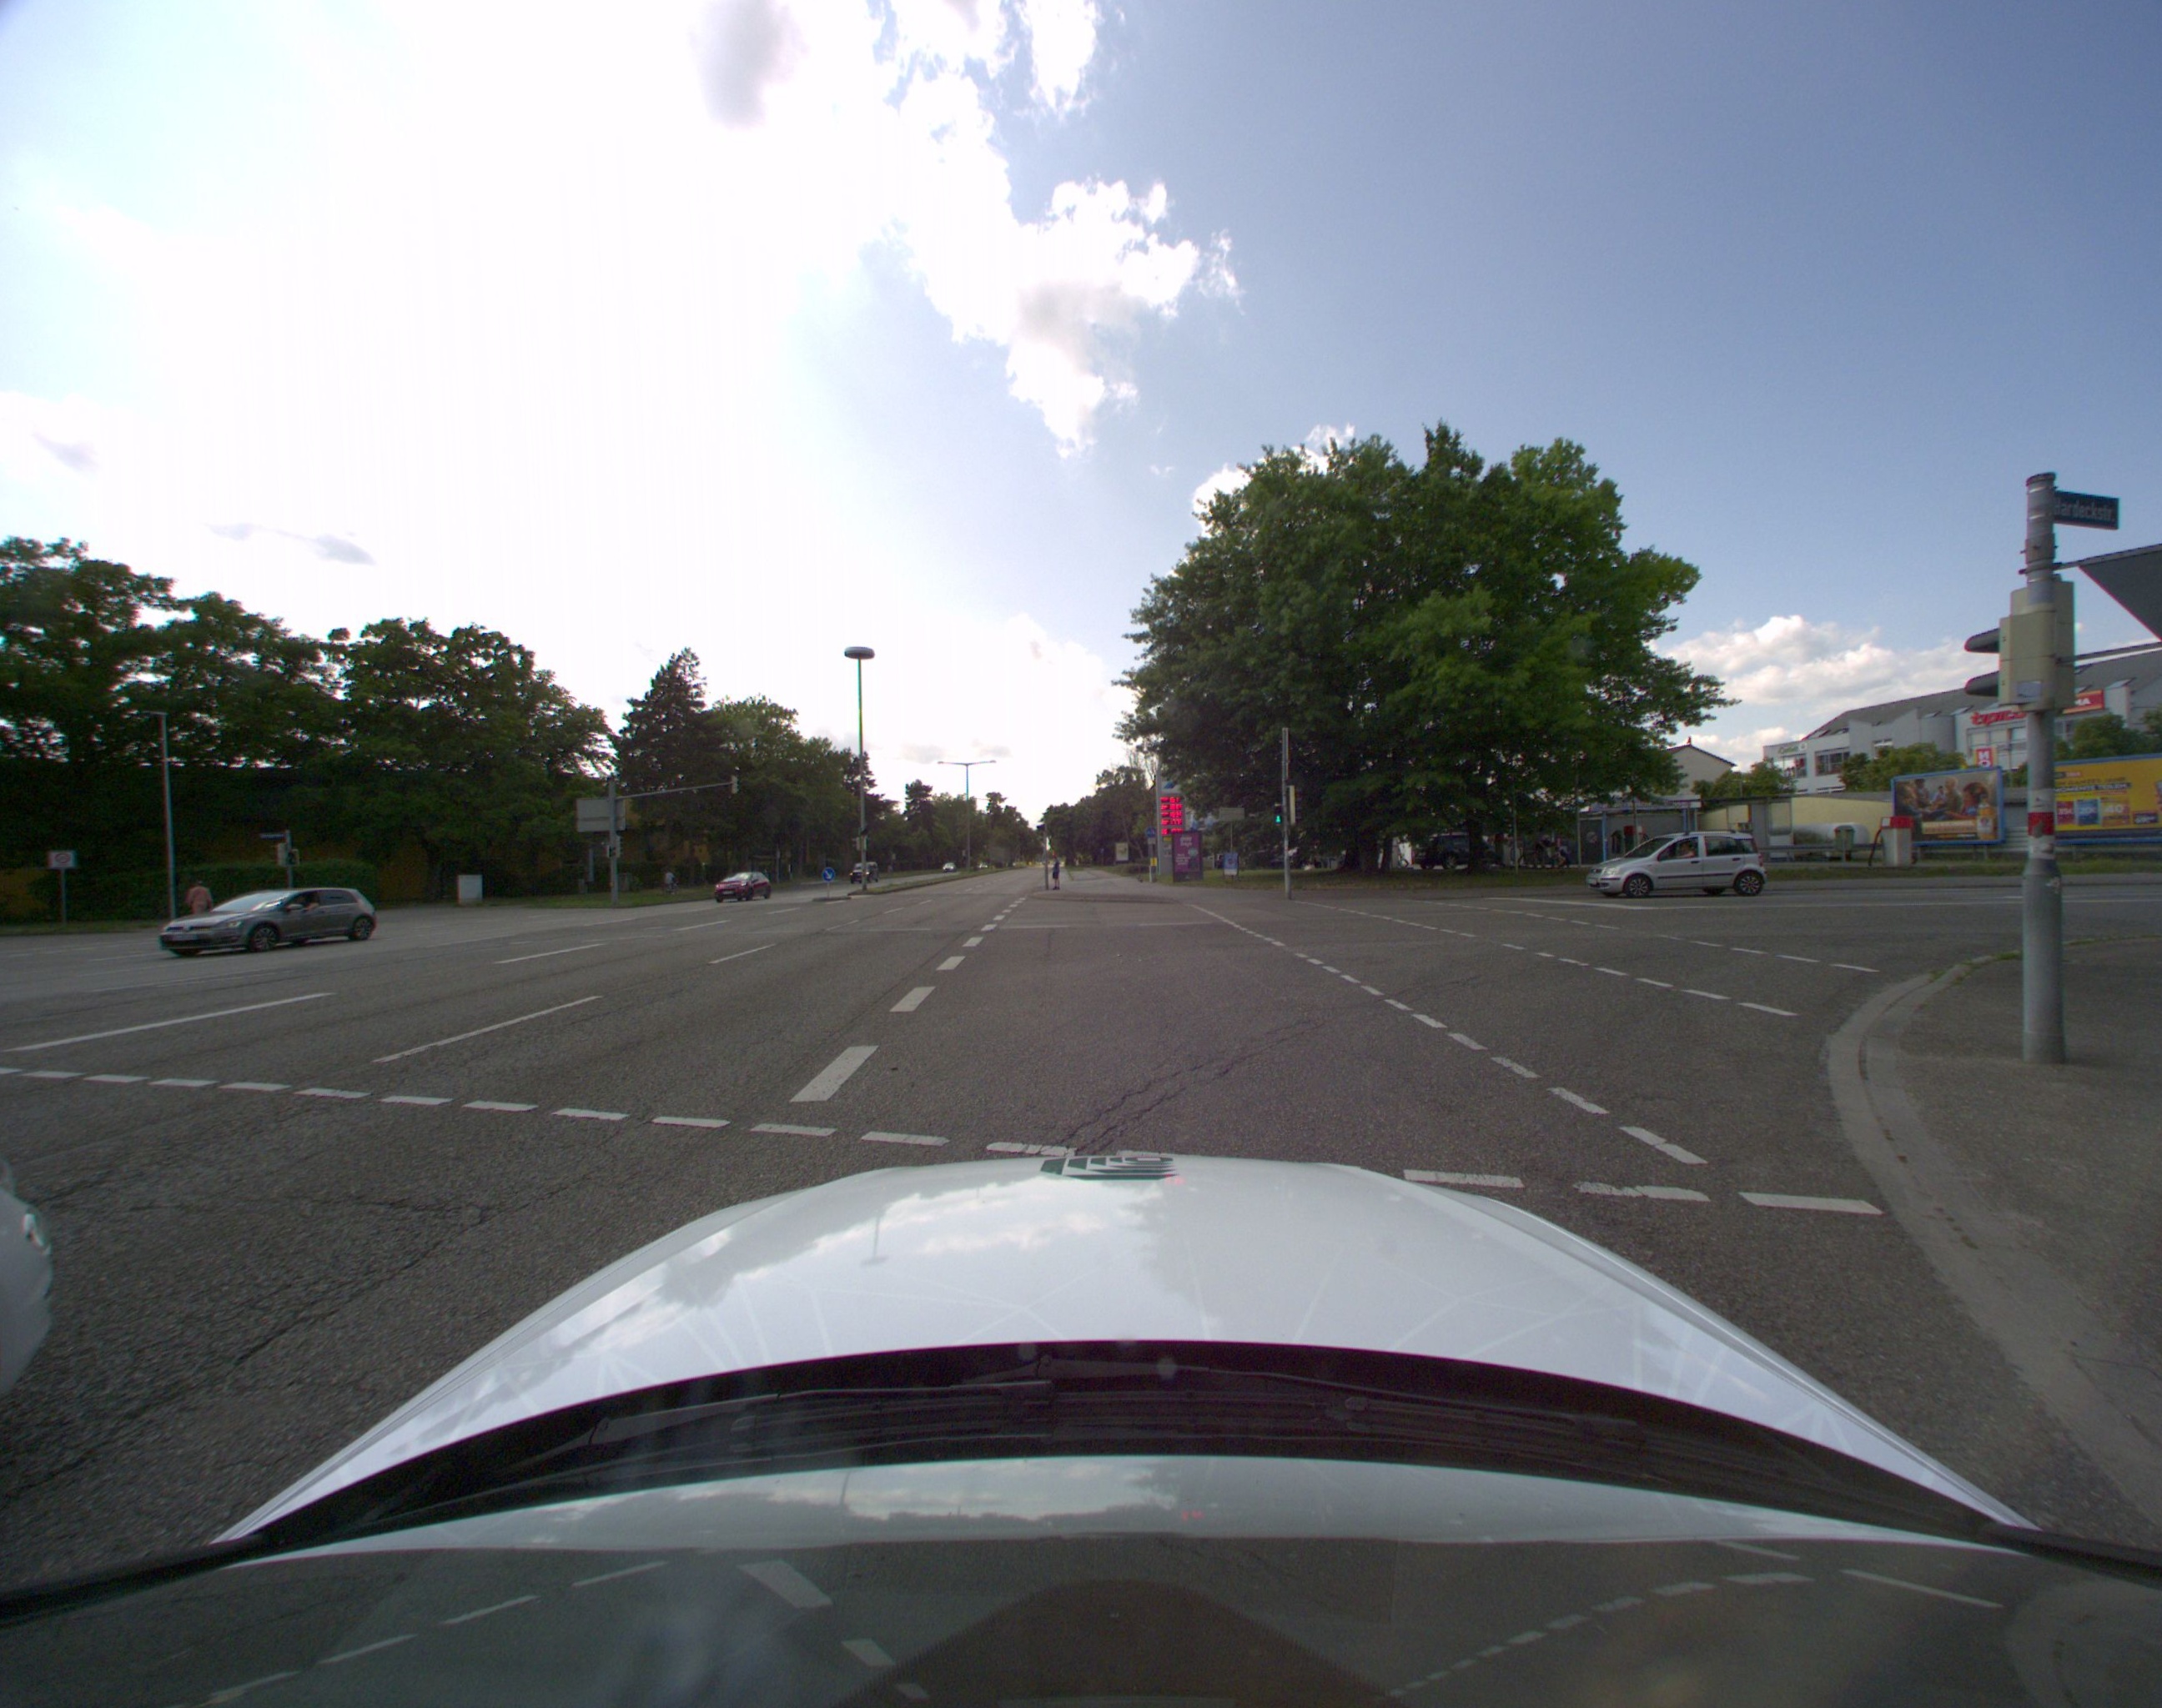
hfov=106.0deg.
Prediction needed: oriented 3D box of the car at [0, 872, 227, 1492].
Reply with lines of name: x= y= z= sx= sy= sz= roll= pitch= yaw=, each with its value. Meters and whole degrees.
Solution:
car: x=-3.329 y=0.761 z=0.669 sx=1.566 sy=1.497 sz=3.536 roll=0 pitch=-1 yaw=-3

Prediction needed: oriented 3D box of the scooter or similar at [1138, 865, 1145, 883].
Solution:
scooter or similar: x=3.287 y=1.078 z=44.149 sx=0.220 sy=0.979 sz=1.272 roll=-2 pitch=-1 yaw=-1

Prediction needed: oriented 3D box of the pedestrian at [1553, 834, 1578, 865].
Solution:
pedestrian: x=20.299 y=-0.180 z=34.097 sx=0.756 sy=1.255 sz=0.649 roll=-1 pitch=-2 yaw=44

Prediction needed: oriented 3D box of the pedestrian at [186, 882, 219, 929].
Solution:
pedestrian: x=-33.243 y=1.941 z=30.828 sx=0.696 sy=1.742 sz=0.697 roll=-1 pitch=-1 yaw=-37

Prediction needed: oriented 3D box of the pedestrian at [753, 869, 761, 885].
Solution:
pedestrian: x=-30.101 y=2.142 z=75.636 sx=0.571 sy=1.496 sz=0.419 roll=1 pitch=-2 yaw=-17

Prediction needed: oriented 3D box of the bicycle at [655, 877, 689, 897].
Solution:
bicycle: x=-25.788 y=2.071 z=51.397 sx=0.749 sy=1.119 sz=2.122 roll=-2 pitch=-1 yaw=13

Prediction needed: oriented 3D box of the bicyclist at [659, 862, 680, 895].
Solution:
bicyclist: x=-25.857 y=1.516 z=51.184 sx=0.746 sy=2.014 sz=0.834 roll=-2 pitch=-1 yaw=12

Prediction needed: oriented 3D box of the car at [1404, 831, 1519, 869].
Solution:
car: x=18.052 y=-0.170 z=38.677 sx=4.553 sy=1.596 sz=2.145 roll=-2 pitch=-1 yaw=-12

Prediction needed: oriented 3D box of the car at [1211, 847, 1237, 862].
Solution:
car: x=14.077 y=0.070 z=80.460 sx=1.746 sy=1.454 sz=3.737 roll=-2 pitch=-1 yaw=-3

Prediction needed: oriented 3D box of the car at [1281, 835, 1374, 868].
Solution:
car: x=15.354 y=-0.164 z=50.844 sx=5.185 sy=1.827 sz=2.145 roll=-2 pitch=-1 yaw=-12

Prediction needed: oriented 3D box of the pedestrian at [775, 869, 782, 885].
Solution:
pedestrian: x=-28.345 y=2.156 z=76.198 sx=0.571 sy=1.496 sz=0.419 roll=1 pitch=-2 yaw=-17

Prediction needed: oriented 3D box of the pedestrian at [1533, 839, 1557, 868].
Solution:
pedestrian: x=19.758 y=-0.006 z=34.689 sx=0.756 sy=1.190 sz=0.649 roll=-1 pitch=-2 yaw=44

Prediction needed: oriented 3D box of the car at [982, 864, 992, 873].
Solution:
car: x=-19.309 y=2.947 z=167.476 sx=1.856 sy=1.705 sz=4.450 roll=-2 pitch=-1 yaw=-3

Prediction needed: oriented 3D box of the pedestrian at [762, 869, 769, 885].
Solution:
pedestrian: x=-29.411 y=2.149 z=75.939 sx=0.571 sy=1.496 sz=0.419 roll=1 pitch=-2 yaw=-17

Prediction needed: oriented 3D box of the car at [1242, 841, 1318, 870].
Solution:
car: x=15.081 y=0.135 z=61.786 sx=5.172 sy=2.004 sz=2.150 roll=-2 pitch=-1 yaw=-5

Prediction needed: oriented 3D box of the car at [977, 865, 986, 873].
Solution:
car: x=-23.714 y=3.588 z=194.362 sx=1.856 sy=1.705 sz=4.450 roll=-2 pitch=-1 yaw=-3

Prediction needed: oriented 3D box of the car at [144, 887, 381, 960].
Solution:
car: x=-19.412 y=1.583 z=19.604 sx=1.590 sy=1.372 sz=4.079 roll=-2 pitch=-1 yaw=-1

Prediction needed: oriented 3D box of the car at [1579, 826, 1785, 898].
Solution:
car: x=14.117 y=0.197 z=19.306 sx=3.573 sy=1.517 sz=1.564 roll=-2 pitch=-1 yaw=11

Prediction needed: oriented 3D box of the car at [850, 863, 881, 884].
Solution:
car: x=-20.778 y=1.851 z=78.692 sx=1.760 sy=1.857 sz=4.814 roll=-2 pitch=0 yaw=-1

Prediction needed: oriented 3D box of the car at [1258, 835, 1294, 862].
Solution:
car: x=18.459 y=-0.458 z=77.451 sx=1.746 sy=2.454 sz=5.743 roll=-2 pitch=-1 yaw=-3

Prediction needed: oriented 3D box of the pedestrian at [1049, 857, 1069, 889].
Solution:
pedestrian: x=-1.081 y=0.909 z=39.846 sx=0.727 sy=1.532 sz=0.755 roll=-2 pitch=-1 yaw=-18

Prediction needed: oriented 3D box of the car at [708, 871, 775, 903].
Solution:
car: x=-17.418 y=1.675 z=42.008 sx=1.768 sy=1.465 sz=4.449 roll=-2 pitch=-1 yaw=-4

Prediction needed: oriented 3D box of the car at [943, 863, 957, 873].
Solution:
car: x=-22.868 y=2.390 z=142.143 sx=1.855 sy=1.705 sz=4.451 roll=-2 pitch=-1 yaw=-2
